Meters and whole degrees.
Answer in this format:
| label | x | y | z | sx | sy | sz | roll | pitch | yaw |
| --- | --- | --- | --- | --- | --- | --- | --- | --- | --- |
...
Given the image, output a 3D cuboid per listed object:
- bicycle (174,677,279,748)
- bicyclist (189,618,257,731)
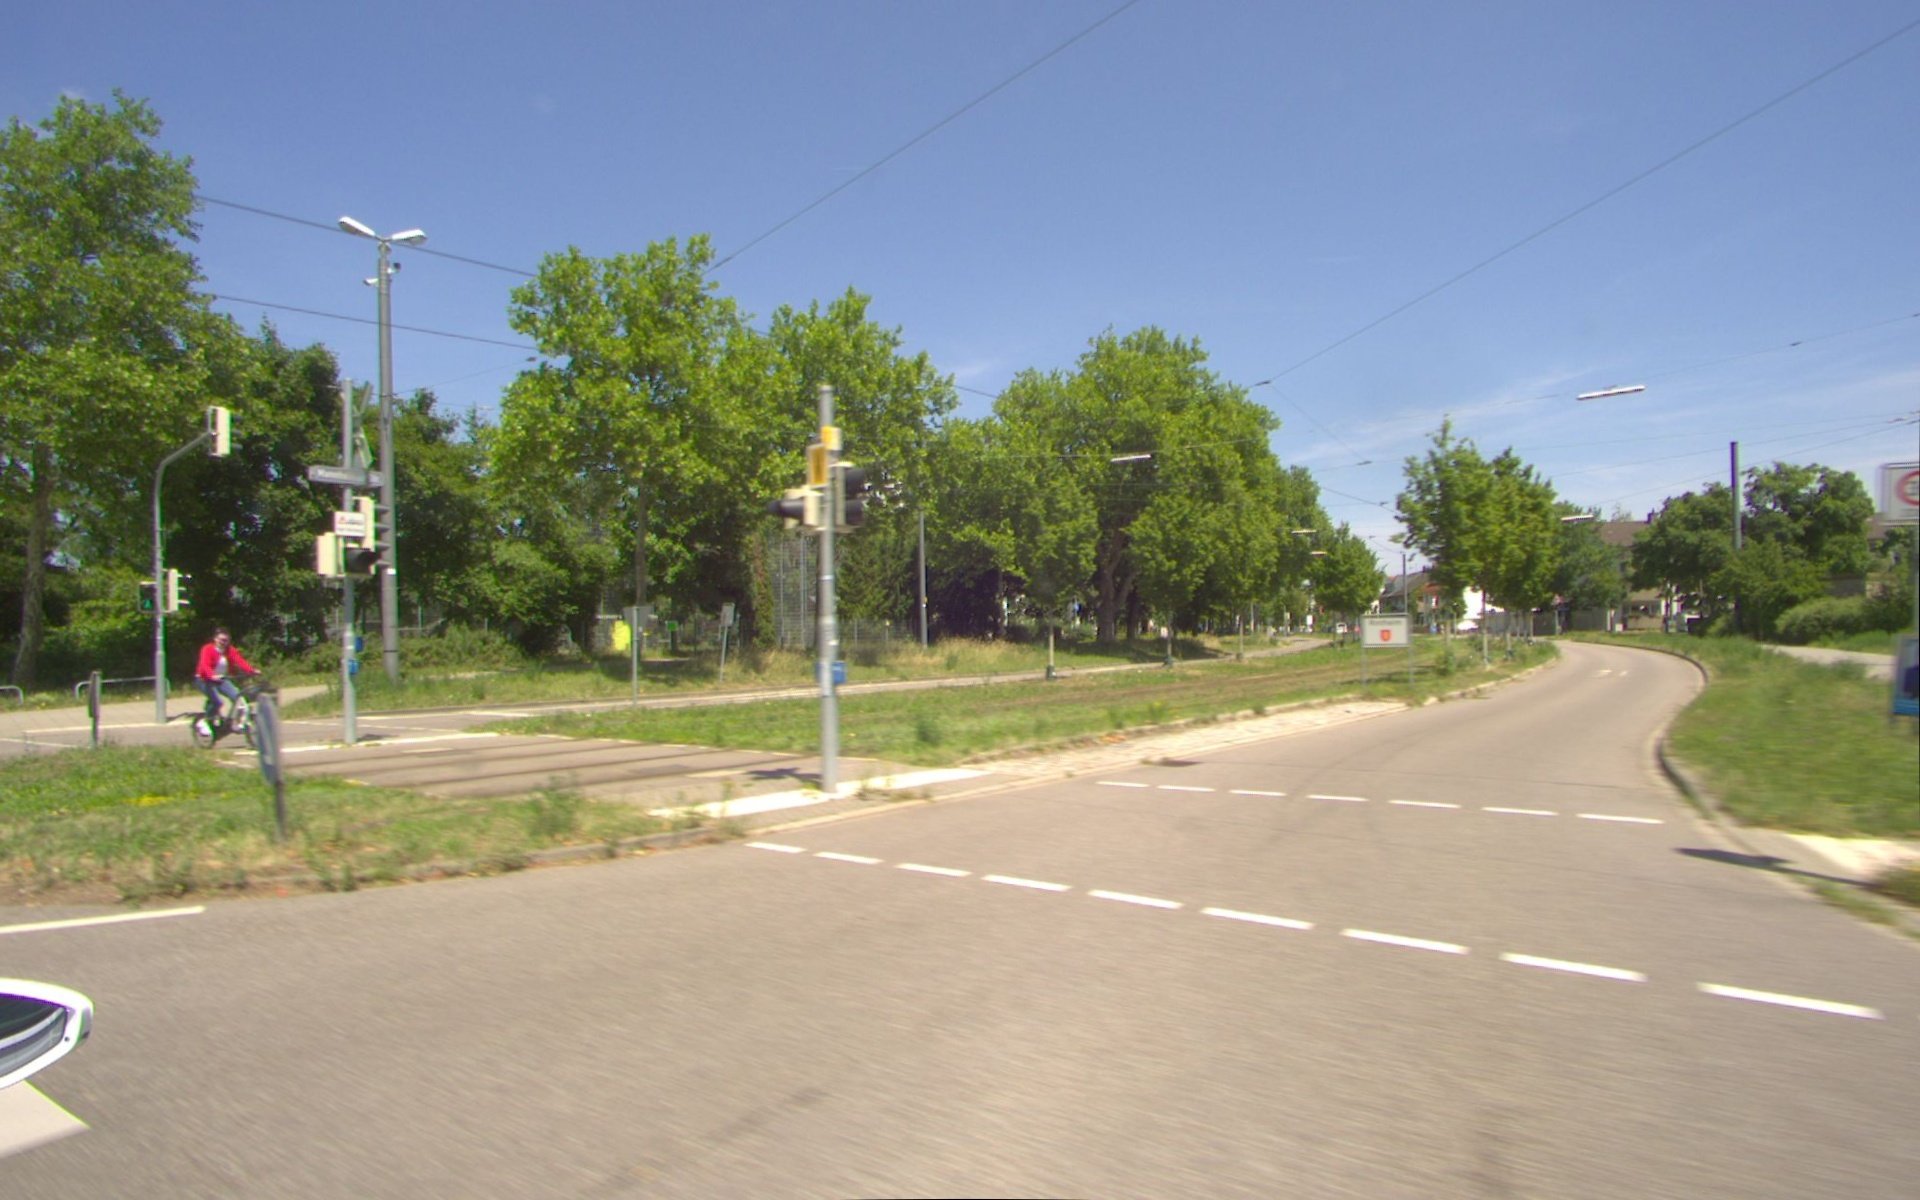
| label | x | y | z | sx | sy | sz | roll | pitch | yaw |
| --- | --- | --- | --- | --- | --- | --- | --- | --- | --- |
| bicycle | -10.490 | 1.579 | 14.307 | 1.785 | 0.907 | 0.586 | -2 | -1 | 32 |
| bicyclist | -10.563 | 1.046 | 14.357 | 0.664 | 1.576 | 0.577 | -1 | -1 | 31 |
